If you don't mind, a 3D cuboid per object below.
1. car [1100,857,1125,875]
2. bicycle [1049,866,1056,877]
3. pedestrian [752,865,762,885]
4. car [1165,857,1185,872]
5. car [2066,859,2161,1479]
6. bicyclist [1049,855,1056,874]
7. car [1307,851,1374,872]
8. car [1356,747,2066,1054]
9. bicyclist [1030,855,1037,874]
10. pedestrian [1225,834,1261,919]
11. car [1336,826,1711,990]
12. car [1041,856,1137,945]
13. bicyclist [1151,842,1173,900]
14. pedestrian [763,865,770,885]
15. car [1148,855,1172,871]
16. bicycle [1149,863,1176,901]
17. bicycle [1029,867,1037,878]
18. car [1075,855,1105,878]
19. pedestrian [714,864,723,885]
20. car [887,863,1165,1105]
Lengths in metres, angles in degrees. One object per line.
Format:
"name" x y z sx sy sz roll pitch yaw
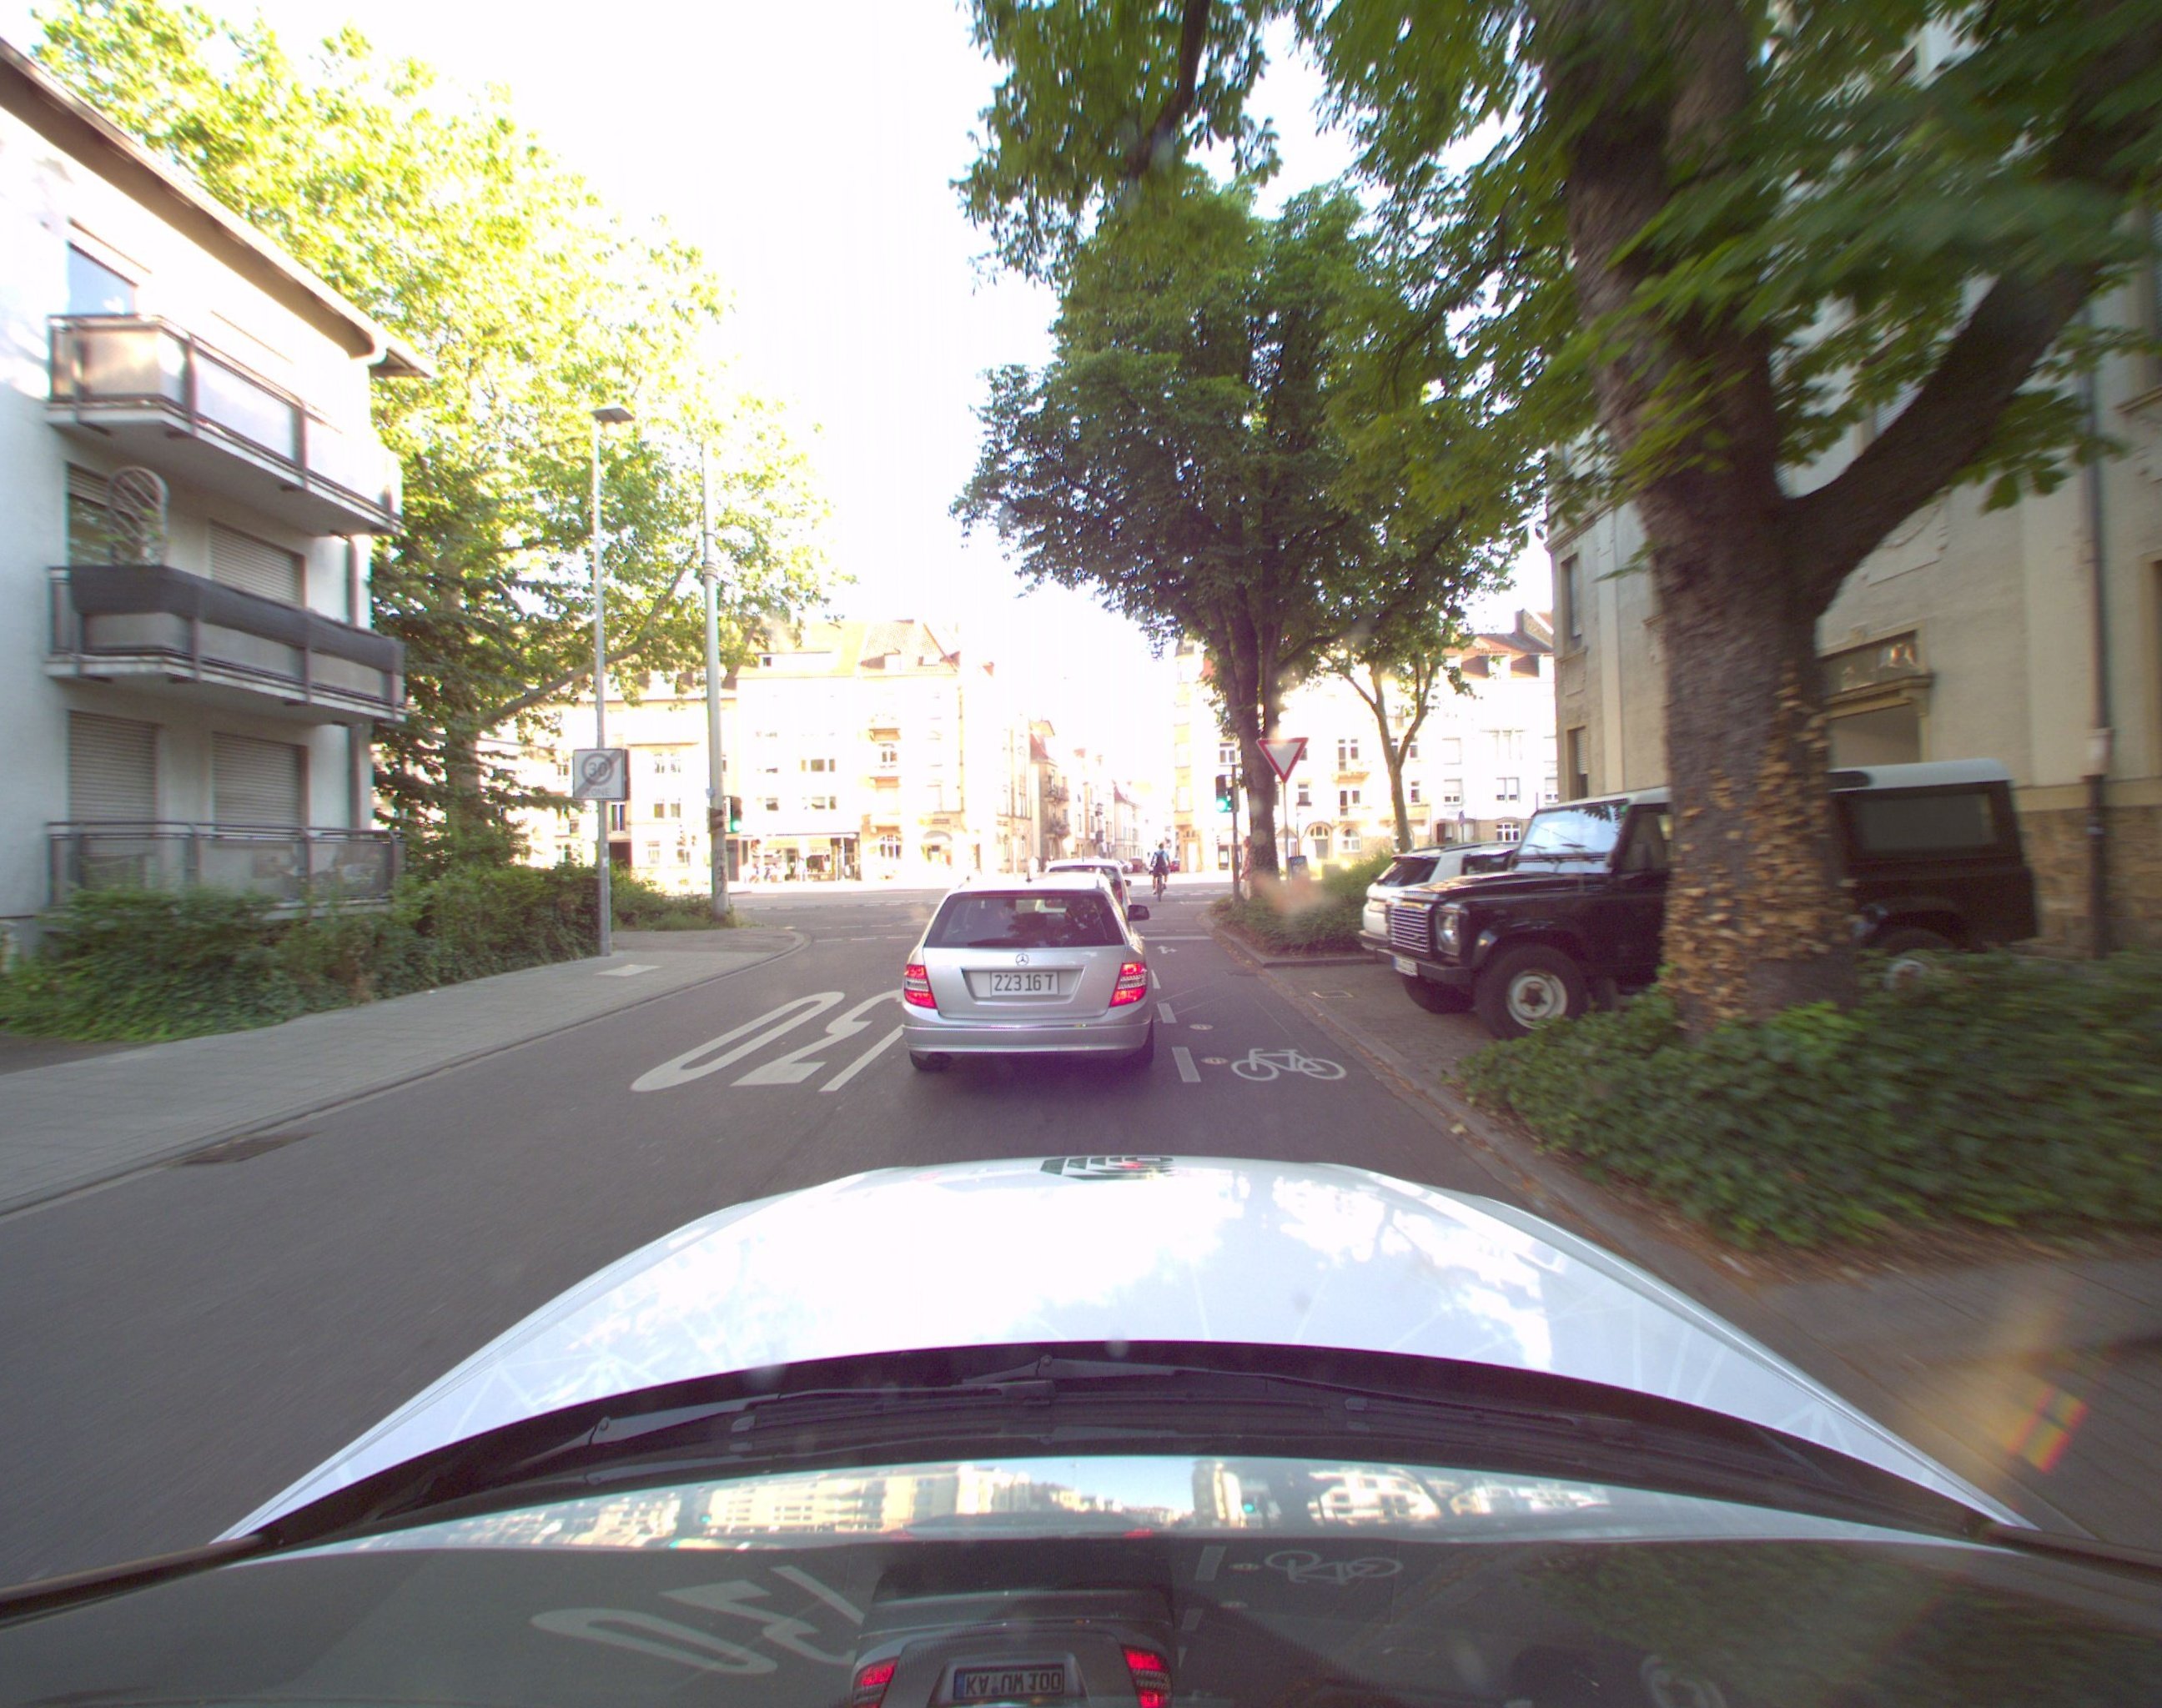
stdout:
"car" 3.255 1.253 83.352 1.674 1.722 4.015 -2 0 14
"bicycle" -2.313 1.401 66.186 0.567 0.834 1.565 -2 0 0
"pedestrian" -24.691 1.590 62.119 0.507 1.511 0.536 -1 0 -3
"car" 11.409 1.263 98.511 1.708 1.478 4.017 -6 -1 15
"car" 4.315 0.614 1.188 3.737 1.422 1.628 -3 -1 0
"bicyclist" -2.335 0.865 66.269 0.465 1.521 0.694 -1 0 -1
"car" 14.620 0.401 46.032 3.351 1.069 1.381 -2 0 1
"car" 4.874 0.335 6.802 4.476 1.956 1.793 -3 0 0
"bicyclist" -3.837 0.876 65.453 0.465 1.514 0.655 -1 0 -1
"pedestrian" 3.600 0.494 18.095 0.630 1.844 0.574 -1 0 -1
"car" 5.048 0.572 9.599 3.473 1.586 1.709 -3 0 -4
"car" 0.173 0.754 14.977 1.528 1.391 3.600 -1 0 1
"bicyclist" 2.539 0.527 25.567 0.644 1.775 0.831 0 -1 3
"pedestrian" -23.925 1.570 61.972 0.474 1.511 0.428 -1 0 -17
"car" 8.058 0.916 82.727 1.708 1.478 4.017 -3 0 15
"bicycle" 2.544 0.846 25.581 0.739 1.118 2.015 0 0 3
"bicycle" -3.833 1.445 65.457 0.567 0.834 1.565 -2 0 0
"car" 0.842 1.133 74.149 1.925 1.958 4.163 -2 0 11
"pedestrian" -27.148 1.543 60.987 0.566 1.511 0.499 -1 0 -16
"car" -0.322 0.808 6.703 1.684 1.429 3.492 0 0 0
